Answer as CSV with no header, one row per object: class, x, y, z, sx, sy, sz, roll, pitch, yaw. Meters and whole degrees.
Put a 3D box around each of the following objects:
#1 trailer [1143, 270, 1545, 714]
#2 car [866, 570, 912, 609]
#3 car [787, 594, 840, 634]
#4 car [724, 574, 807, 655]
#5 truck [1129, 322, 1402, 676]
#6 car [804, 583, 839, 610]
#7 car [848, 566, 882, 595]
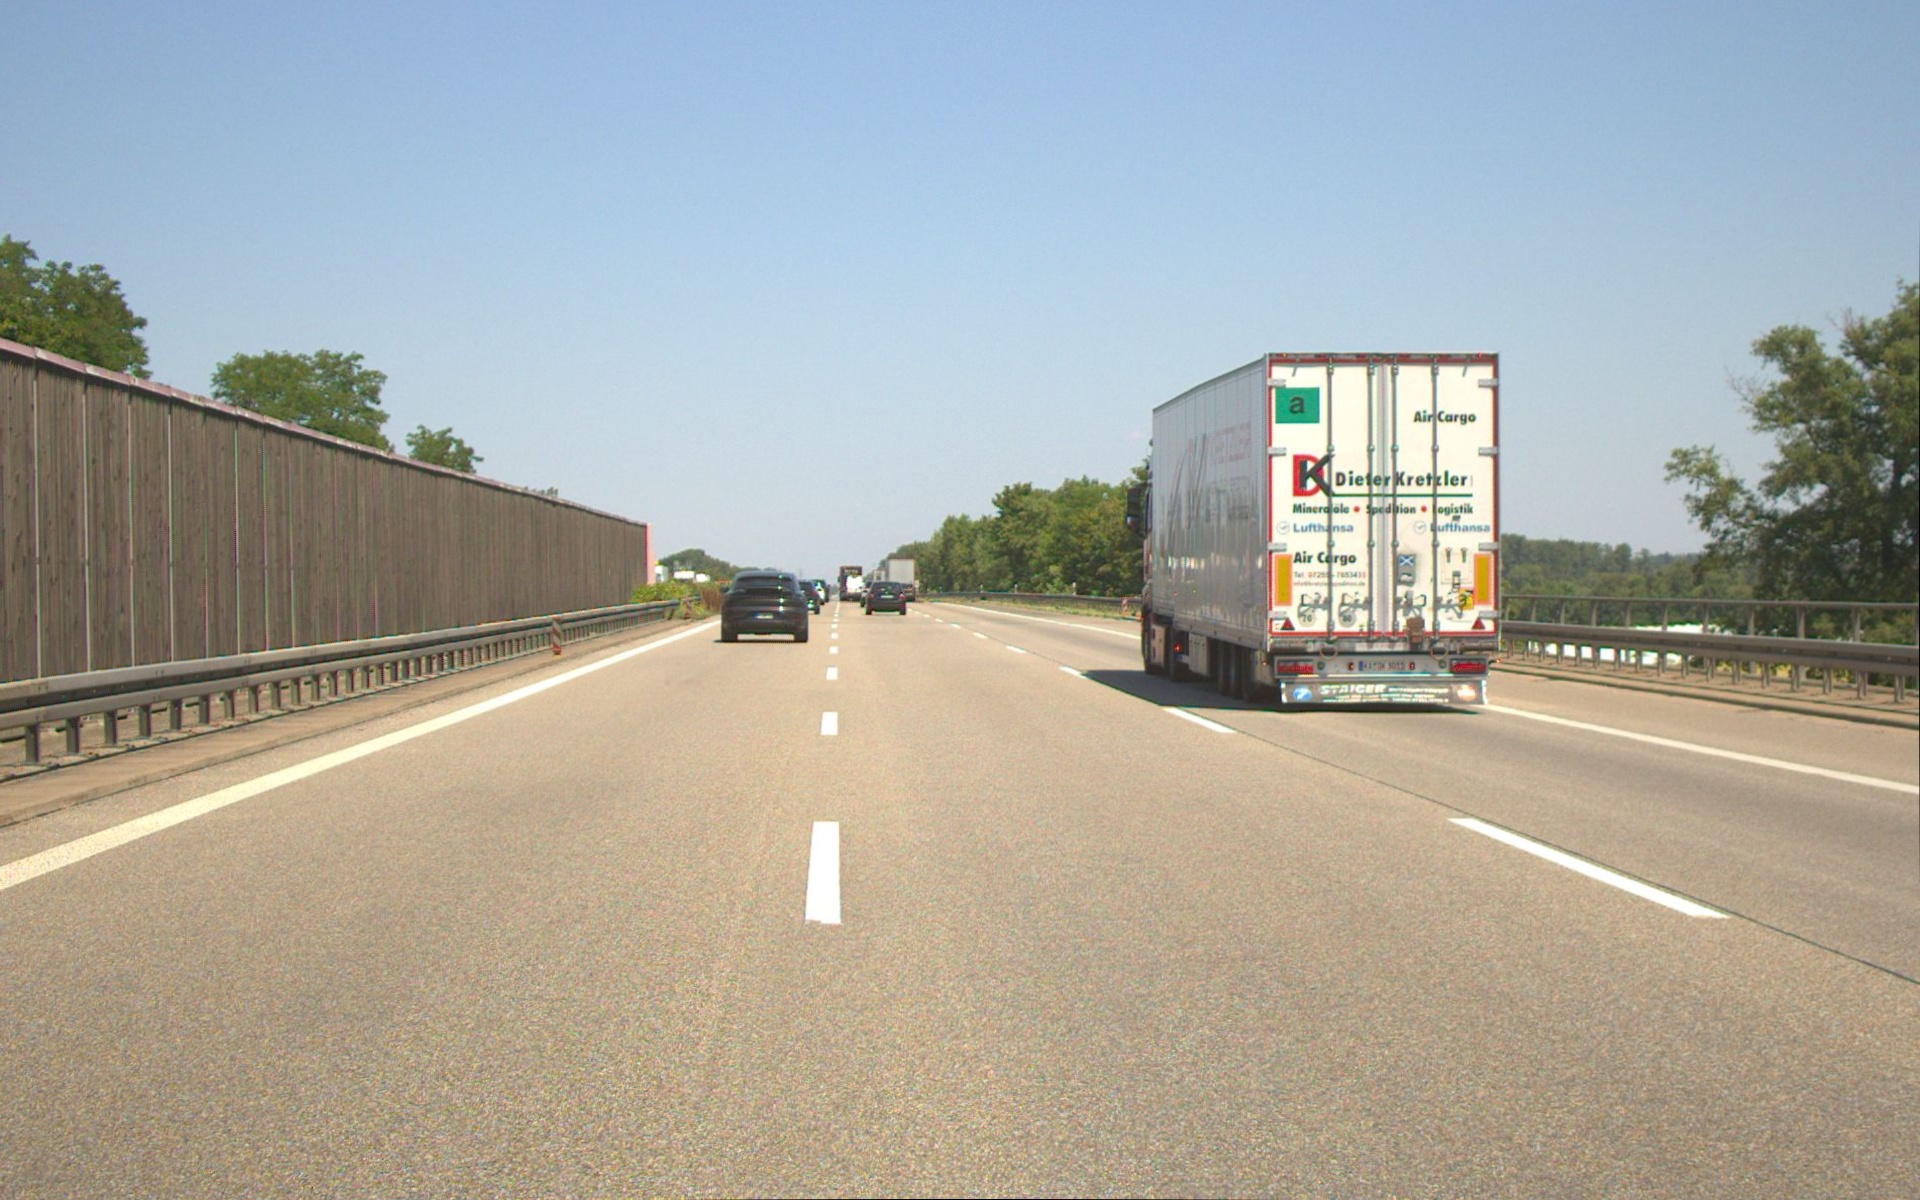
trailer,4.582,-1.273,44.701,3.269,4.821,14.030,1,1,-1
car,-3.038,-0.433,145.691,1.903,1.578,4.304,-1,0,-1
car,-6.223,0.585,146.460,2.128,1.640,4.304,-1,0,-1
car,-4.523,0.312,80.105,1.880,1.786,4.001,0,1,-3
truck,4.416,-1.449,51.196,3.234,4.872,6.972,1,1,-1
car,-8.557,-0.199,212.885,2.128,1.640,4.304,-1,0,-1
car,-5.381,-1.094,194.594,1.903,1.578,4.304,-1,0,-1
